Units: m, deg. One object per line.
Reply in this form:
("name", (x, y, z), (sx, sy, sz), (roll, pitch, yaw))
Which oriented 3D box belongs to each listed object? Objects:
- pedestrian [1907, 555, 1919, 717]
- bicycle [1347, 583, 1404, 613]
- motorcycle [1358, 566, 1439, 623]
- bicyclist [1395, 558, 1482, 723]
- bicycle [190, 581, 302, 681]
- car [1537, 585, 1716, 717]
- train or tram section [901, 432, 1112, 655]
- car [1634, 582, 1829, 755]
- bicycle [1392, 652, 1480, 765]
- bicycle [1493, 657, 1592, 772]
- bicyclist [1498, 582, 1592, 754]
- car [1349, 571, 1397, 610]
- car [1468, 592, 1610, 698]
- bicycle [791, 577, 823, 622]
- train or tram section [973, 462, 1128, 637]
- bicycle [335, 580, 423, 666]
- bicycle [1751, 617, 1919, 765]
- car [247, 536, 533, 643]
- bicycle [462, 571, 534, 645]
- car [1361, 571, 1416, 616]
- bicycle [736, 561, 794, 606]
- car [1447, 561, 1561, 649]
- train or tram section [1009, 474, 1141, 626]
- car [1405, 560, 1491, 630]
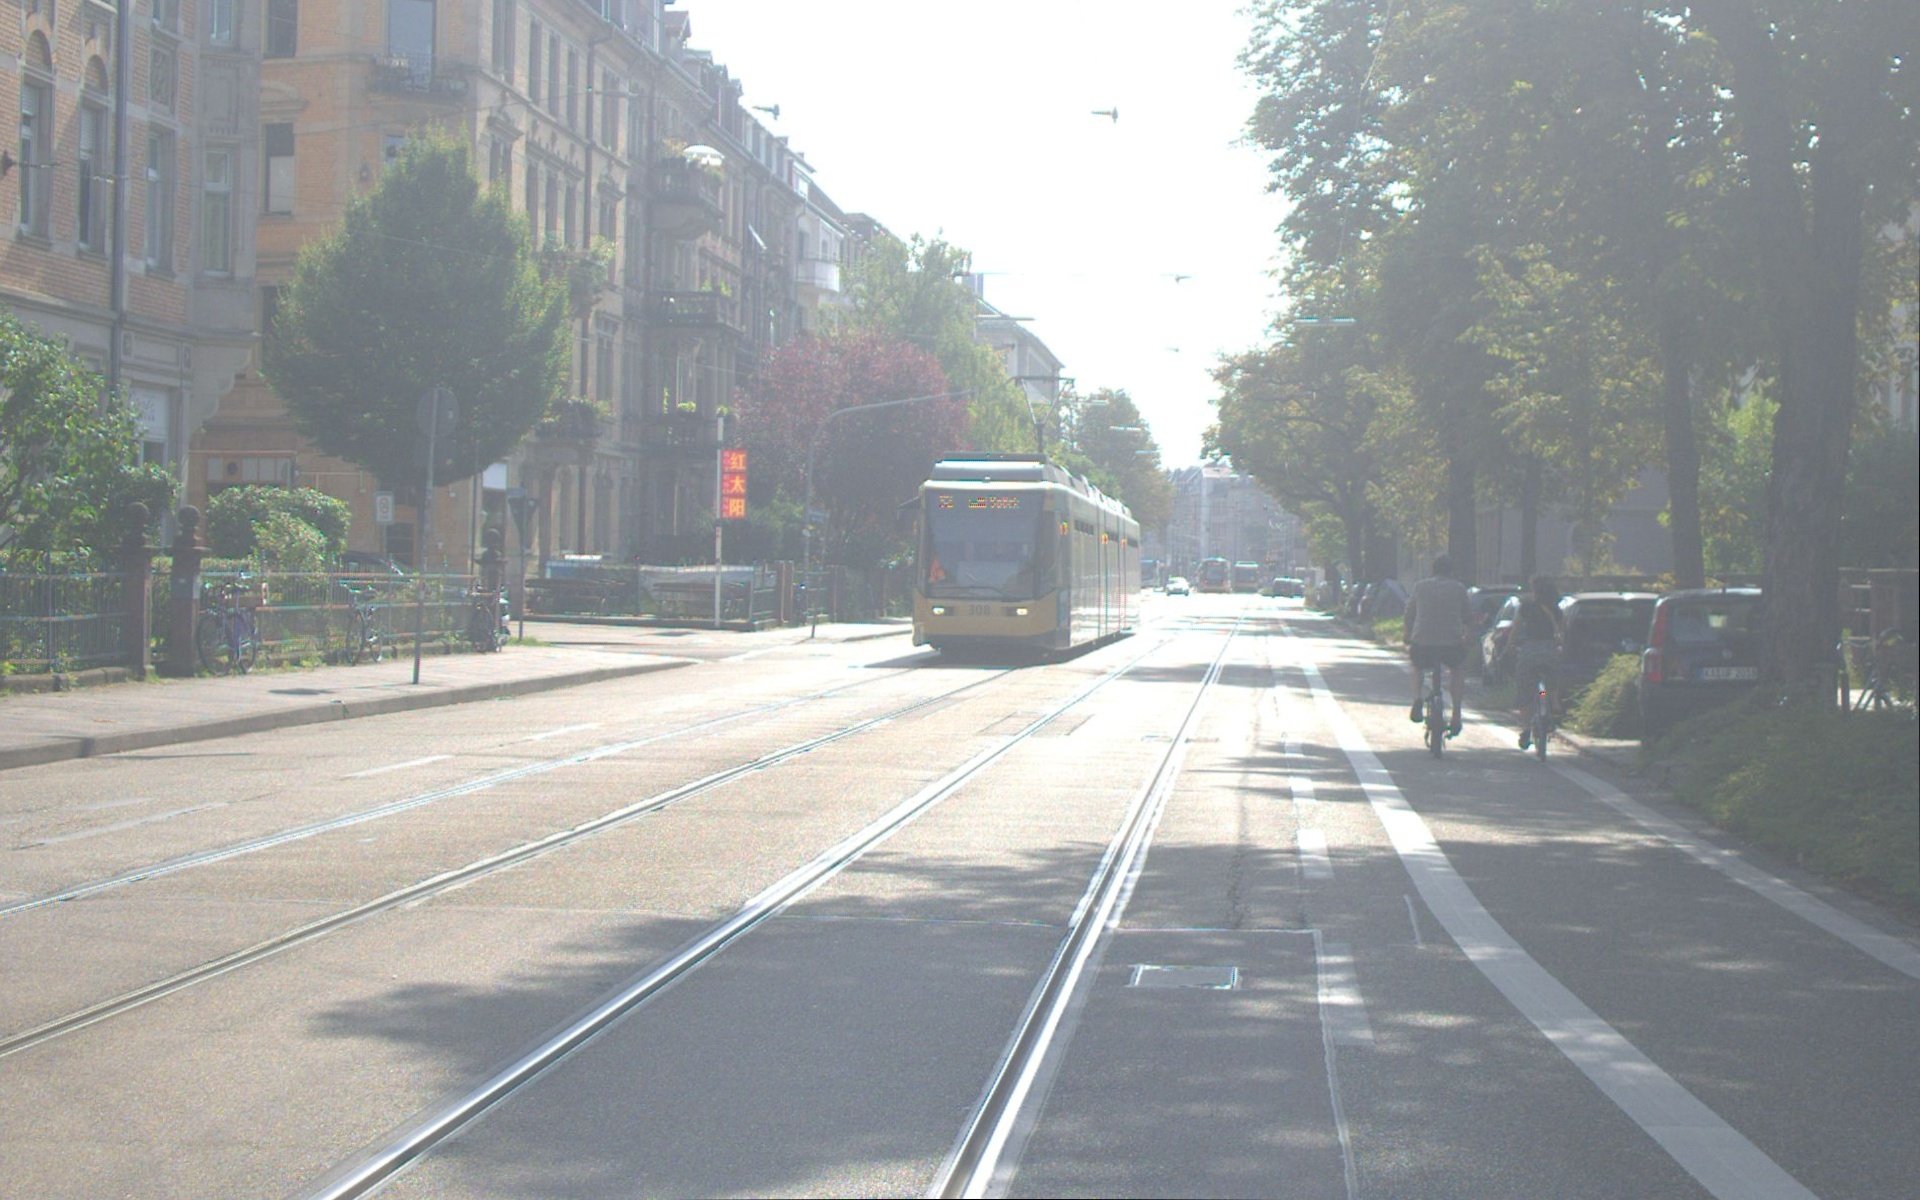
("pedestrian", (10.775, 0.397, 37.488), (0.753, 1.743, 0.878), (2, 1, 12))
("bicycle", (15.913, -0.093, 131.653), (2.106, 1.101, 0.563), (1, 0, -2))
("motorcycle", (13.076, -0.172, 102.596), (0.911, 1.668, 2.419), (-1, 1, -40))
("bicyclist", (4.216, 0.350, 30.336), (0.626, 1.396, 0.929), (3, 1, 4))
("bicycle", (-8.076, 0.337, 38.967), (0.607, 1.054, 1.839), (5, 1, 7))
("car", (7.748, 0.558, 40.255), (1.645, 1.443, 4.245), (0, 0, 5))
("train or tram section", (1.080, -0.994, 62.755), (2.735, 3.493, 15.431), (2, 1, 4))
("car", (7.236, 0.601, 32.496), (1.646, 1.535, 3.840), (0, 0, 11))
("bicycle", (4.189, 0.943, 30.331), (0.626, 0.906, 1.525), (3, 1, 4))
("bicycle", (5.149, 1.000, 30.491), (0.654, 0.906, 1.775), (3, 1, 4))
("bicyclist", (5.180, 0.589, 30.470), (0.654, 1.469, 0.908), (3, 1, 4))
("car", (16.235, -0.348, 135.294), (1.772, 1.468, 3.973), (1, 0, 5))
("car", (8.570, 0.633, 51.159), (1.690, 1.430, 4.336), (-1, 1, 5))
("bicycle", (-3.858, -0.014, 86.842), (0.508, 1.104, 2.003), (1, 0, 5))
("train or tram section", (2.113, -1.096, 75.797), (2.735, 3.493, 10.774), (2, 1, 4))
("bicycle", (-7.575, 0.291, 44.880), (0.545, 1.054, 1.839), (5, 1, 7))
("bicycle", (6.744, 0.686, 26.123), (1.723, 1.069, 0.525), (1, 1, -43))
("car", (-9.179, -0.165, 55.558), (4.137, 1.538, 2.064), (2, 0, 4))
("bicycle", (-6.964, 0.107, 51.877), (0.545, 1.054, 1.839), (5, 1, 7))
("car", (14.723, -0.218, 118.338), (1.727, 1.499, 3.984), (0, 0, 5))
("bicycle", (-4.871, -0.407, 85.903), (1.357, 1.056, 0.417), (3, 0, 3))
("car", (9.694, 0.085, 61.492), (1.690, 1.497, 4.095), (-1, 0, 5))
("train or tram section", (3.004, -1.243, 86.587), (2.735, 3.493, 10.774), (2, 1, 4))
("car", (11.346, -0.124, 80.127), (1.744, 1.555, 4.718), (1, 0, 6))
